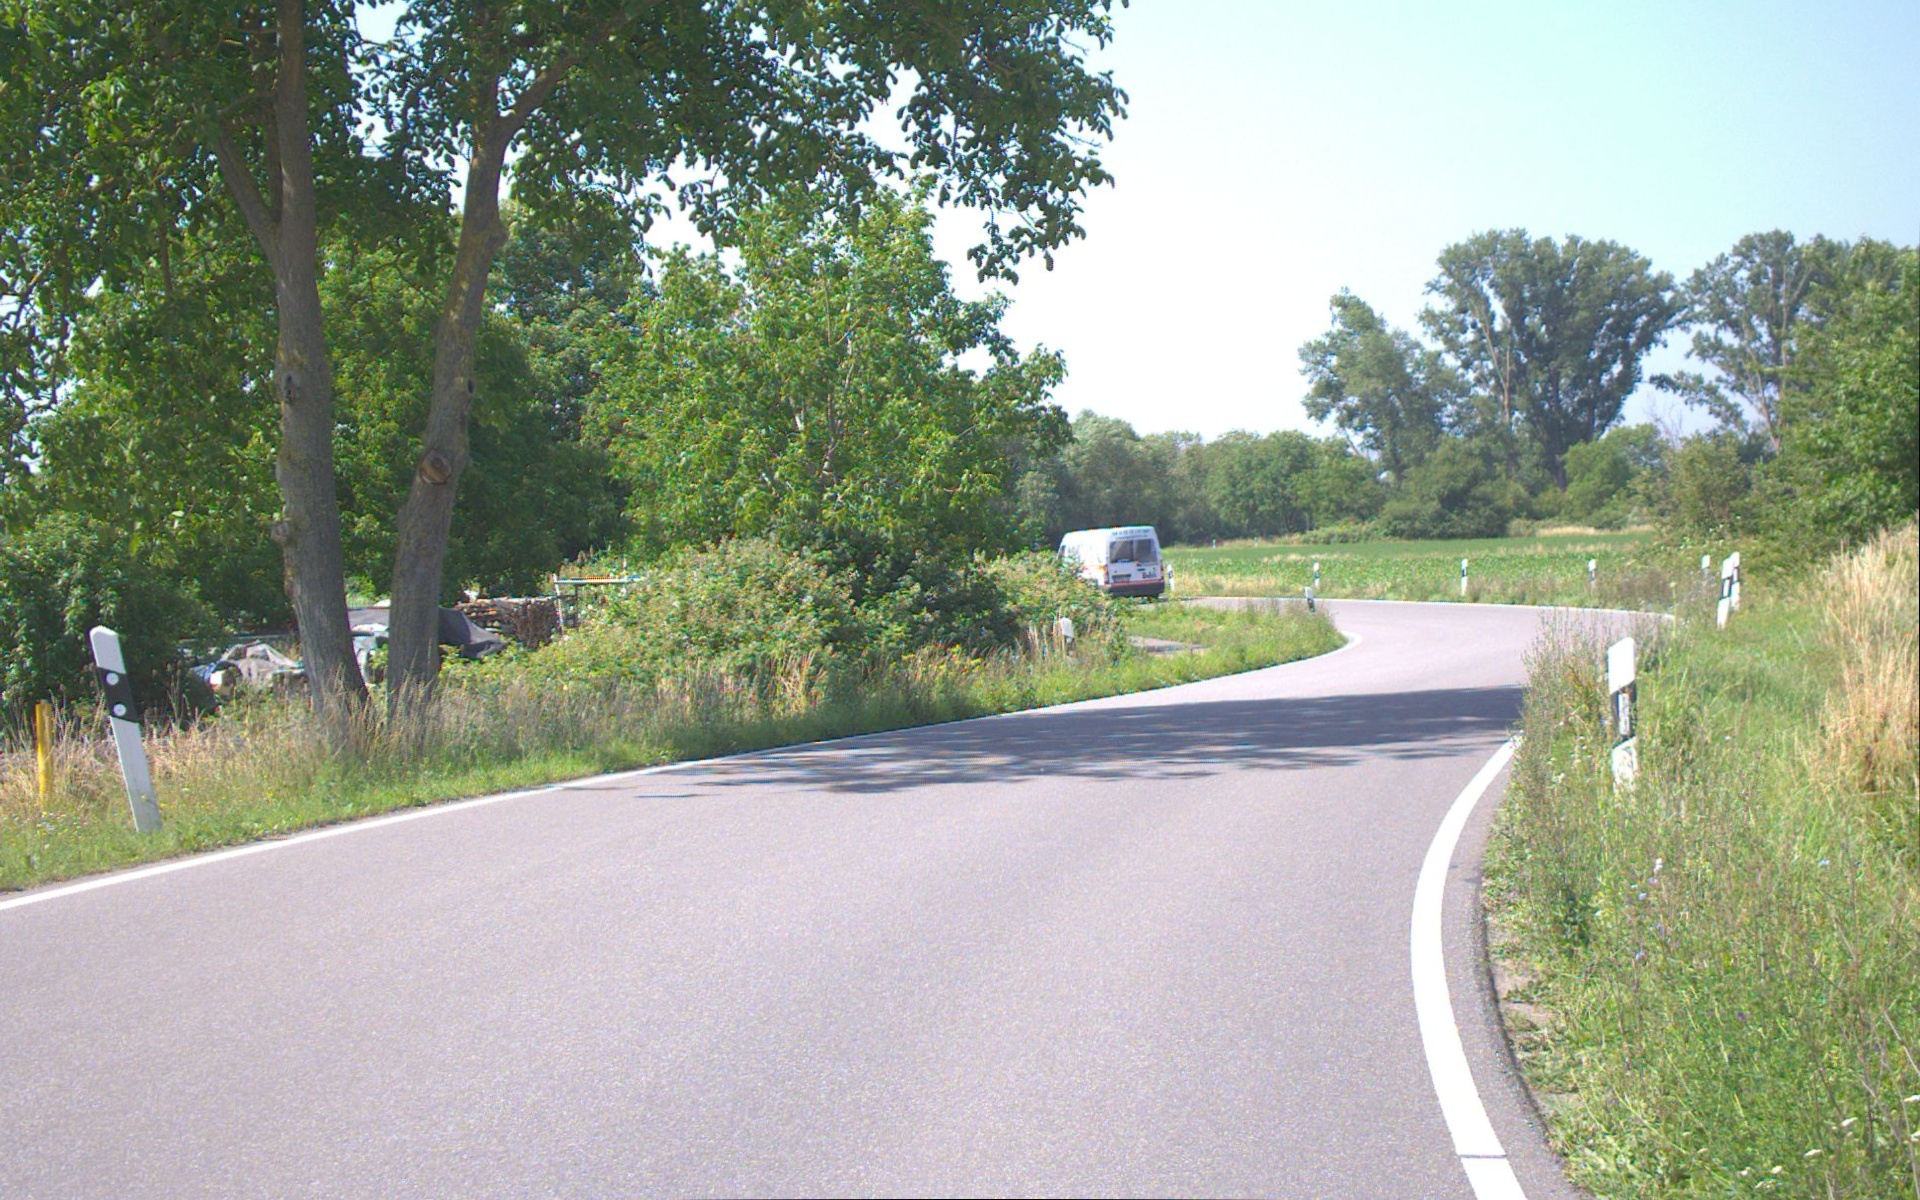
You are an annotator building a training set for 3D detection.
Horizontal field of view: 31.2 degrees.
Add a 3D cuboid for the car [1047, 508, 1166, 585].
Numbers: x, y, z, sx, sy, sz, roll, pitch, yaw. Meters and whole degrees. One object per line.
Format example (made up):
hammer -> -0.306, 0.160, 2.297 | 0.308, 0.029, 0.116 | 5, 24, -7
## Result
car -> 4.695, -1.734, 111.098 | 2.103, 2.359, 5.688 | -2, 2, -16
